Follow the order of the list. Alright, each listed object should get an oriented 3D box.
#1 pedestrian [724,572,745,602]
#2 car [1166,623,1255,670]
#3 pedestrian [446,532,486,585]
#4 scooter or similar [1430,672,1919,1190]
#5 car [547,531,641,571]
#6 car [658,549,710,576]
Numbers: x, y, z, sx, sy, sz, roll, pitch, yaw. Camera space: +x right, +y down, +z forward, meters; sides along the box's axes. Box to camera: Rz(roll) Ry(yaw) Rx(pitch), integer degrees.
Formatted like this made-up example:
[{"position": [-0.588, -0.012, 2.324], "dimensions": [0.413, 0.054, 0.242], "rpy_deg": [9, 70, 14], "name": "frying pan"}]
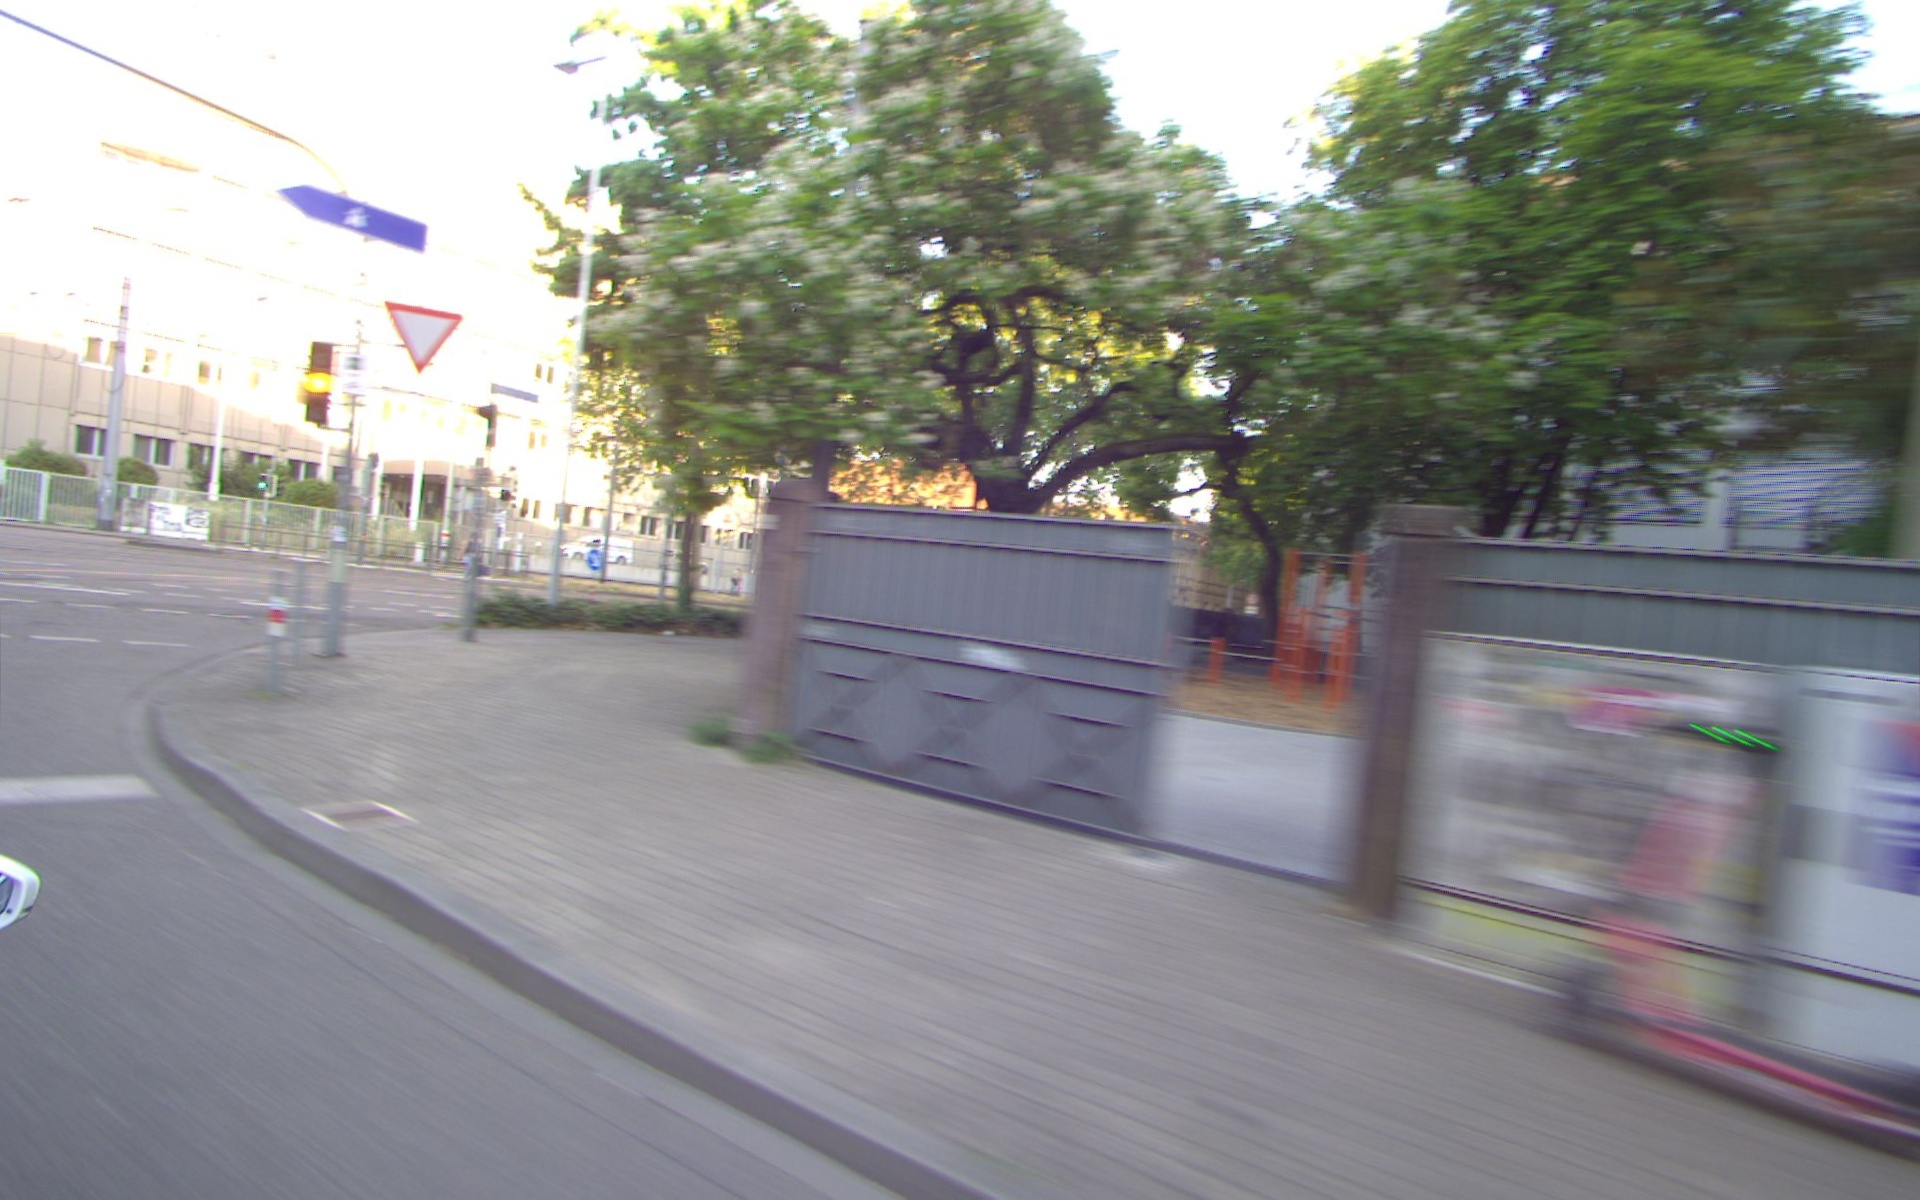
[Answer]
[{"position": [-13.330, -0.759, 59.556], "dimensions": [0.869, 1.699, 1.061], "rpy_deg": [6, 1, -2], "name": "pedestrian"}, {"position": [10.269, 1.915, 41.088], "dimensions": [1.889, 1.571, 3.982], "rpy_deg": [5, -1, 40], "name": "car"}, {"position": [-16.226, -1.355, 33.045], "dimensions": [0.816, 1.636, 0.753], "rpy_deg": [7, 1, 36], "name": "pedestrian"}, {"position": [2.533, 0.988, 3.351], "dimensions": [1.557, 1.283, 0.641], "rpy_deg": [7, 3, 34], "name": "scooter or similar"}, {"position": [-23.328, -3.115, 64.289], "dimensions": [2.243, 1.897, 5.070], "rpy_deg": [7, 0, 41], "name": "car"}, {"position": [-20.561, -2.798, 74.826], "dimensions": [3.947, 1.635, 1.824], "rpy_deg": [7, 0, 44], "name": "car"}]
